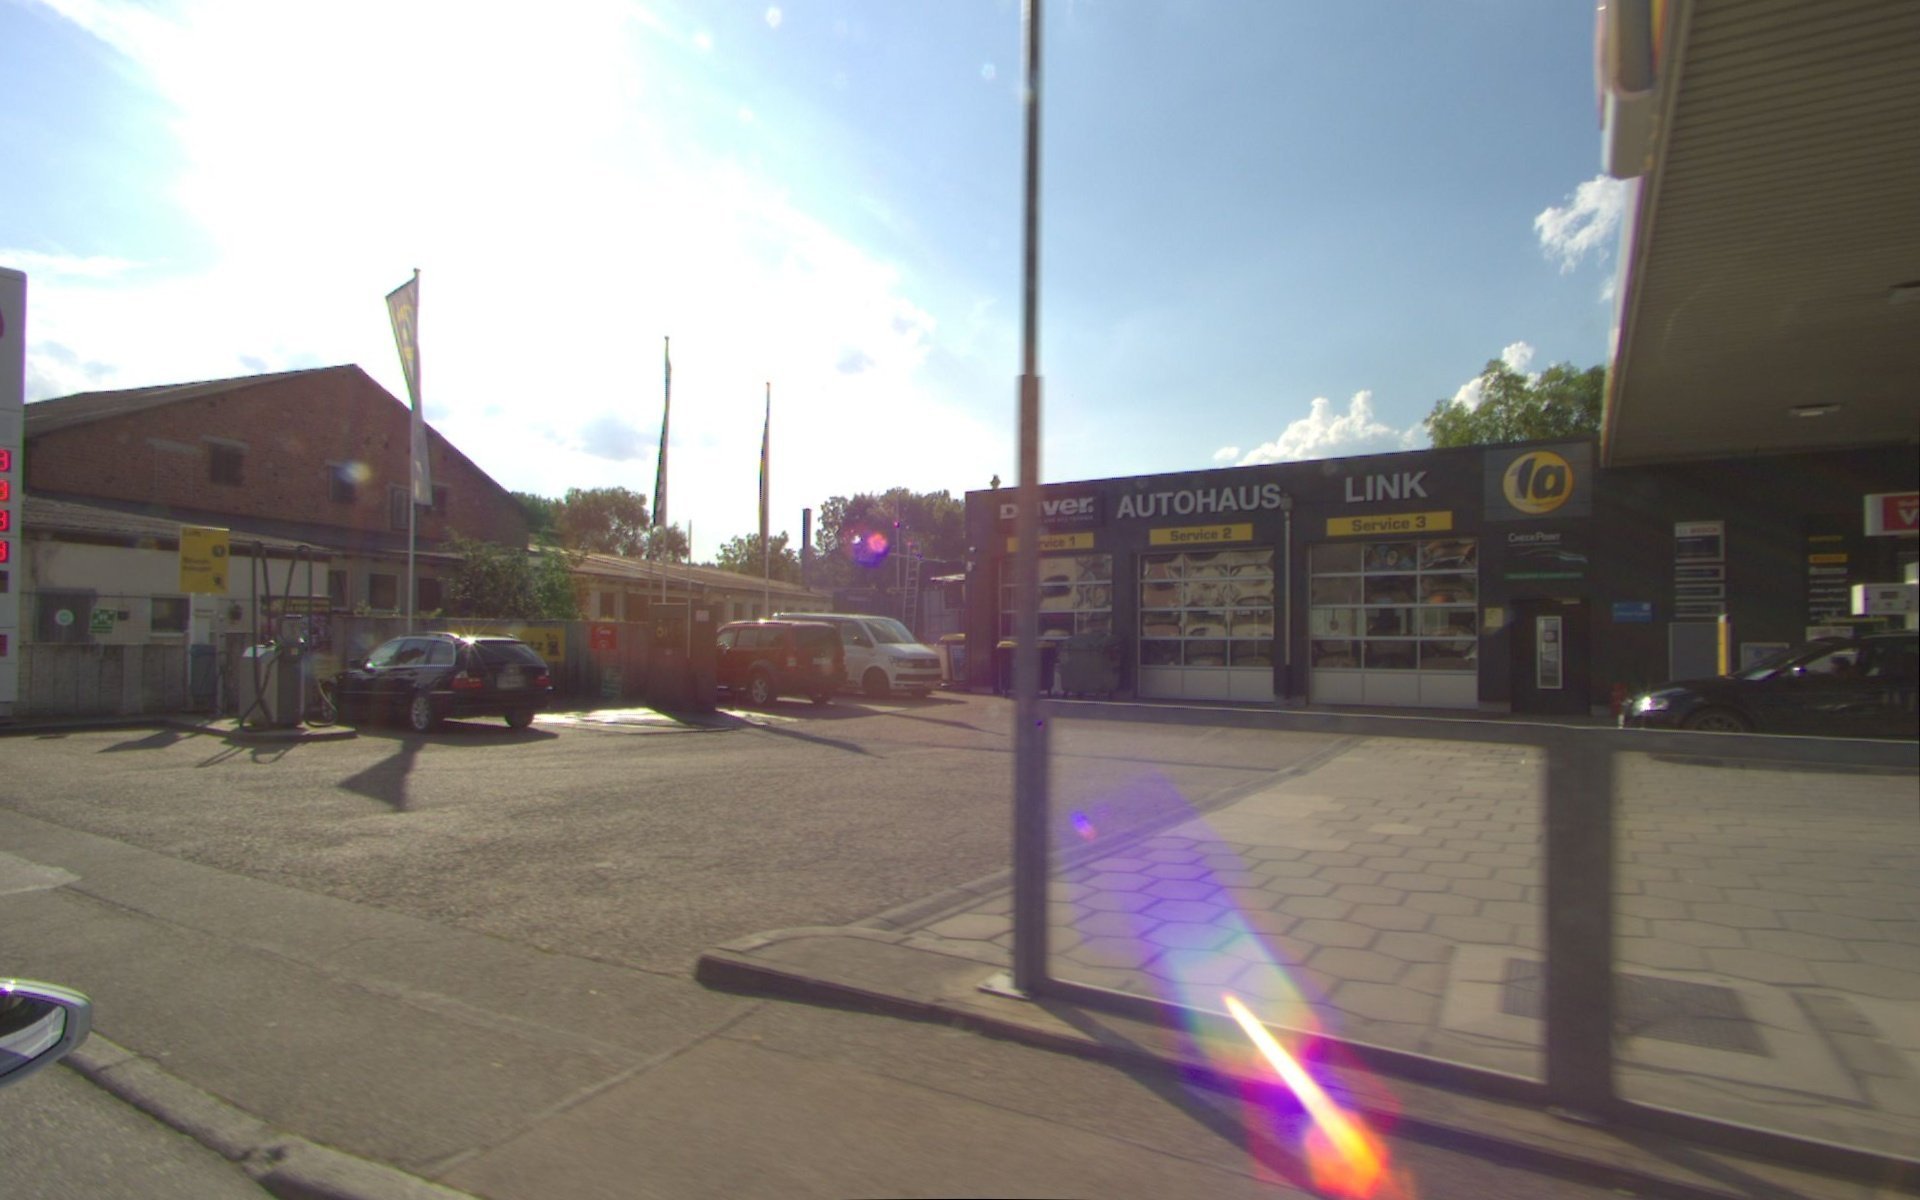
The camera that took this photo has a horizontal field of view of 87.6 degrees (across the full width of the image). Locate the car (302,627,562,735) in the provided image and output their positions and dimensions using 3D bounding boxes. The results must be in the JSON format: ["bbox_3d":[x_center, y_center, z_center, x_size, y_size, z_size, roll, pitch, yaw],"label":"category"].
[{"bbox_3d":[-8.275,1.188,15.586,4.317,1.445,1.576,0,-3,32],"label":"car"}]

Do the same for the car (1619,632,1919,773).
[{"bbox_3d":[9.662,1.078,11.029,3.943,1.418,1.534,-3,-3,33],"label":"car"}]

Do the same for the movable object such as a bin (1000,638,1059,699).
[{"bbox_3d":[1.657,1.618,23.833,1.110,1.393,0.988,0,-1,27],"label":"movable object such as a bin"}]

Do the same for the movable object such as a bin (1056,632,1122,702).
[{"bbox_3d":[2.959,1.507,22.893,1.192,1.549,0.986,0,-1,32],"label":"movable object such as a bin"}]

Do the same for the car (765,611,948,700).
[{"bbox_3d":[-2.569,1.282,24.279,4.492,1.948,1.573,0,-1,36],"label":"car"}]

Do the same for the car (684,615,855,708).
[{"bbox_3d":[-4.129,1.256,21.553,3.583,1.815,1.573,0,-1,36],"label":"car"}]
